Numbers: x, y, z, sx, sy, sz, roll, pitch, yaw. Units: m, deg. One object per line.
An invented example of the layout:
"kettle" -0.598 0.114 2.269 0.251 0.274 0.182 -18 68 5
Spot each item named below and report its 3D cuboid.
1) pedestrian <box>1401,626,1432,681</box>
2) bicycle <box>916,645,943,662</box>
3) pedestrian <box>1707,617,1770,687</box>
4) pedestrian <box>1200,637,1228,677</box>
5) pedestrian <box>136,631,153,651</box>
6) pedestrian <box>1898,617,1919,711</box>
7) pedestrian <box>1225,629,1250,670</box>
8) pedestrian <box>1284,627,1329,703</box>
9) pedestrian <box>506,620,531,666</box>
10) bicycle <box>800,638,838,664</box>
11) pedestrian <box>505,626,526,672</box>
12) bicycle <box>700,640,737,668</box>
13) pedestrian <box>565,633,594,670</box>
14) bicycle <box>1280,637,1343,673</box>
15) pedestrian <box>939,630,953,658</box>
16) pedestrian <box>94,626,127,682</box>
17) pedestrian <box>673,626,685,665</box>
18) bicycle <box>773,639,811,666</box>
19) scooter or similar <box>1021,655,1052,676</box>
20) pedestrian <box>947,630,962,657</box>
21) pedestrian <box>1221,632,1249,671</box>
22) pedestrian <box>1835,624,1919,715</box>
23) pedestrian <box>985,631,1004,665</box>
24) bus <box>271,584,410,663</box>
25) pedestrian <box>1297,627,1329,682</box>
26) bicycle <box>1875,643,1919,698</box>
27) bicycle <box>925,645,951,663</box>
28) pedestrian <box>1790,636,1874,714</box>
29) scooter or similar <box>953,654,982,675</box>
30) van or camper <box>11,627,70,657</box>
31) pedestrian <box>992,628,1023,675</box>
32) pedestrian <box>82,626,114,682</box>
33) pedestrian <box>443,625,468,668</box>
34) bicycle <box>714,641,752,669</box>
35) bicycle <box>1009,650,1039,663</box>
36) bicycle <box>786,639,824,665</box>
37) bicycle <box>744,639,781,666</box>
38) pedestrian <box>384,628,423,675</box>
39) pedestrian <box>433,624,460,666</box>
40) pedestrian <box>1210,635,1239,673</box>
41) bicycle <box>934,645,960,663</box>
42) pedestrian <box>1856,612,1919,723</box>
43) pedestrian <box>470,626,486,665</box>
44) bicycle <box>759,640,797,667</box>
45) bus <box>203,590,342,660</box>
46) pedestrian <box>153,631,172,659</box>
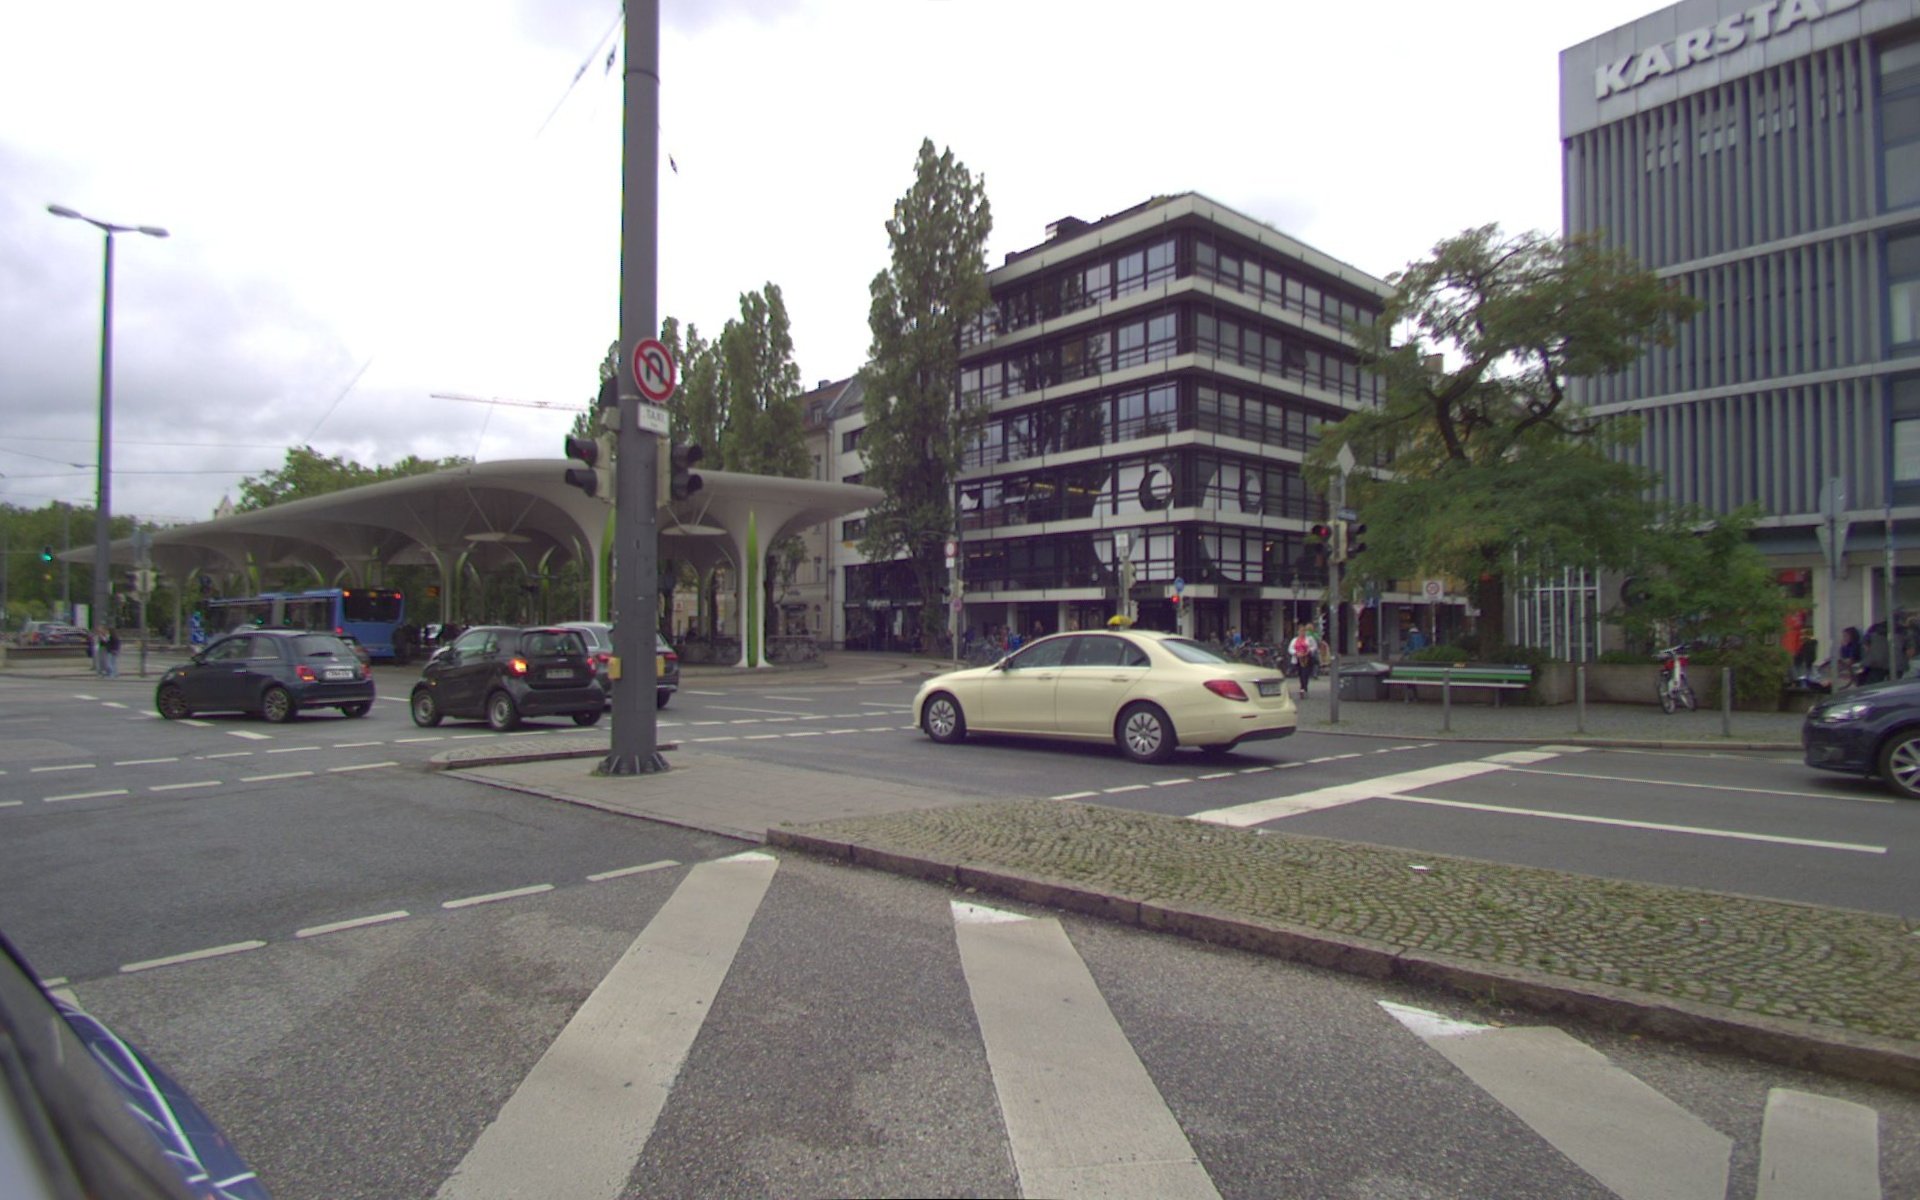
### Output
"pedestrian" 14.311 1.663 31.718 0.857 1.700 0.782 -1 -2 25
"bicycle" -1.722 3.005 56.886 0.449 0.933 1.805 -2 -2 38
"pedestrian" 18.242 1.208 23.712 0.786 1.593 0.979 1 -2 -38
"pedestrian" 10.930 2.446 43.574 0.777 1.654 0.860 1 -2 -38
"pedestrian" -65.075 3.259 80.741 0.737 1.641 0.734 -1 -2 19
"pedestrian" 16.492 1.071 17.059 0.747 1.566 0.766 -1 -2 25
"pedestrian" 13.874 2.477 50.605 0.903 2.029 0.837 0 -2 -6
"pedestrian" 7.502 1.391 21.915 0.720 1.586 0.631 -2 -2 40
"pedestrian" -17.836 1.731 40.922 0.793 1.831 0.707 1 -2 -34
"bicycle" -6.366 2.277 45.489 0.645 1.127 2.186 1 -2 -39
"pedestrian" -16.833 1.839 38.309 0.540 1.733 0.616 1 -2 -42
"bicycle" -10.131 2.240 42.424 0.633 1.133 2.169 1 -2 -40
"pedestrian" -15.484 2.073 41.192 1.008 1.464 0.856 0 -2 -16
"bicycle" 11.665 1.812 33.641 1.893 1.119 0.578 0 -1 41
"pedestrian" -0.818 2.578 58.911 0.585 1.604 0.675 1 -2 -33
"pedestrian" -24.918 1.575 29.697 0.551 1.631 0.486 0 -2 6
"pedestrian" -14.299 2.299 51.474 0.418 1.947 0.481 -1 -2 12
"bicycle" -7.444 2.311 44.669 0.645 1.127 2.186 1 -2 -39
"scooter or similar" 3.591 3.065 47.484 1.394 0.989 0.411 -1 -2 22
"pedestrian" -0.308 2.561 59.697 0.585 1.604 0.675 1 -2 -33
"pedestrian" 12.123 2.262 44.660 0.789 1.666 0.854 1 -2 -38
"pedestrian" 15.599 1.174 17.204 0.763 1.504 0.750 -1 -2 6
"pedestrian" 1.892 2.635 55.677 0.710 1.814 0.829 1 -2 -40
"bus" -26.088 1.056 42.457 7.507 3.031 2.633 -2 -4 40
"pedestrian" 10.598 1.617 30.418 0.805 1.631 0.834 -1 -2 26
"bicycle" 21.131 1.515 22.166 3.383 1.108 0.789 1 -2 -34
"bicycle" -1.221 2.990 56.258 0.449 0.933 1.805 -2 -2 38
"pedestrian" 14.934 1.260 17.358 1.044 1.285 0.539 -2 -3 41
"scooter or similar" 0.375 3.229 50.868 1.379 0.989 0.416 1 -2 -25
"van or camper" -58.527 2.681 64.397 5.434 1.840 1.909 -2 -2 39
"pedestrian" 1.736 1.871 36.965 0.790 1.654 0.845 -2 -3 45
"pedestrian" -25.322 1.588 29.728 0.514 1.631 0.464 0 -2 -6
"pedestrian" -20.529 1.886 41.188 0.694 1.724 0.758 0 -2 -5
"bicycle" -9.648 2.308 42.954 0.645 1.127 2.186 1 -2 -39
"bicycle" 3.222 2.829 50.741 1.607 0.637 0.364 1 -2 -35
"bicycle" -6.919 2.294 45.058 0.645 1.127 2.186 1 -2 -39
"bicycle" -8.551 2.273 43.789 0.645 1.127 2.186 1 -2 -39
"pedestrian" -20.323 1.876 36.987 0.832 1.694 0.970 -1 -2 10
"pedestrian" -20.458 1.785 40.336 0.737 1.687 0.632 0 -1 -2
"pedestrian" 11.508 2.337 43.982 0.730 1.600 0.951 1 -2 -38
"bicycle" -0.713 2.975 55.882 0.449 0.933 1.805 -2 -2 38
"pedestrian" 14.573 1.035 15.771 0.760 1.666 0.753 1 -2 -39
"pedestrian" -19.870 1.856 41.719 0.511 1.600 0.482 0 -2 -19
"bicycle" -7.967 2.328 44.261 0.645 1.127 2.186 1 -2 -39
"bus" -32.975 1.265 48.300 10.506 3.031 2.633 -2 -4 40
"pedestrian" -55.004 3.100 69.830 0.802 1.853 0.663 -1 -2 11
